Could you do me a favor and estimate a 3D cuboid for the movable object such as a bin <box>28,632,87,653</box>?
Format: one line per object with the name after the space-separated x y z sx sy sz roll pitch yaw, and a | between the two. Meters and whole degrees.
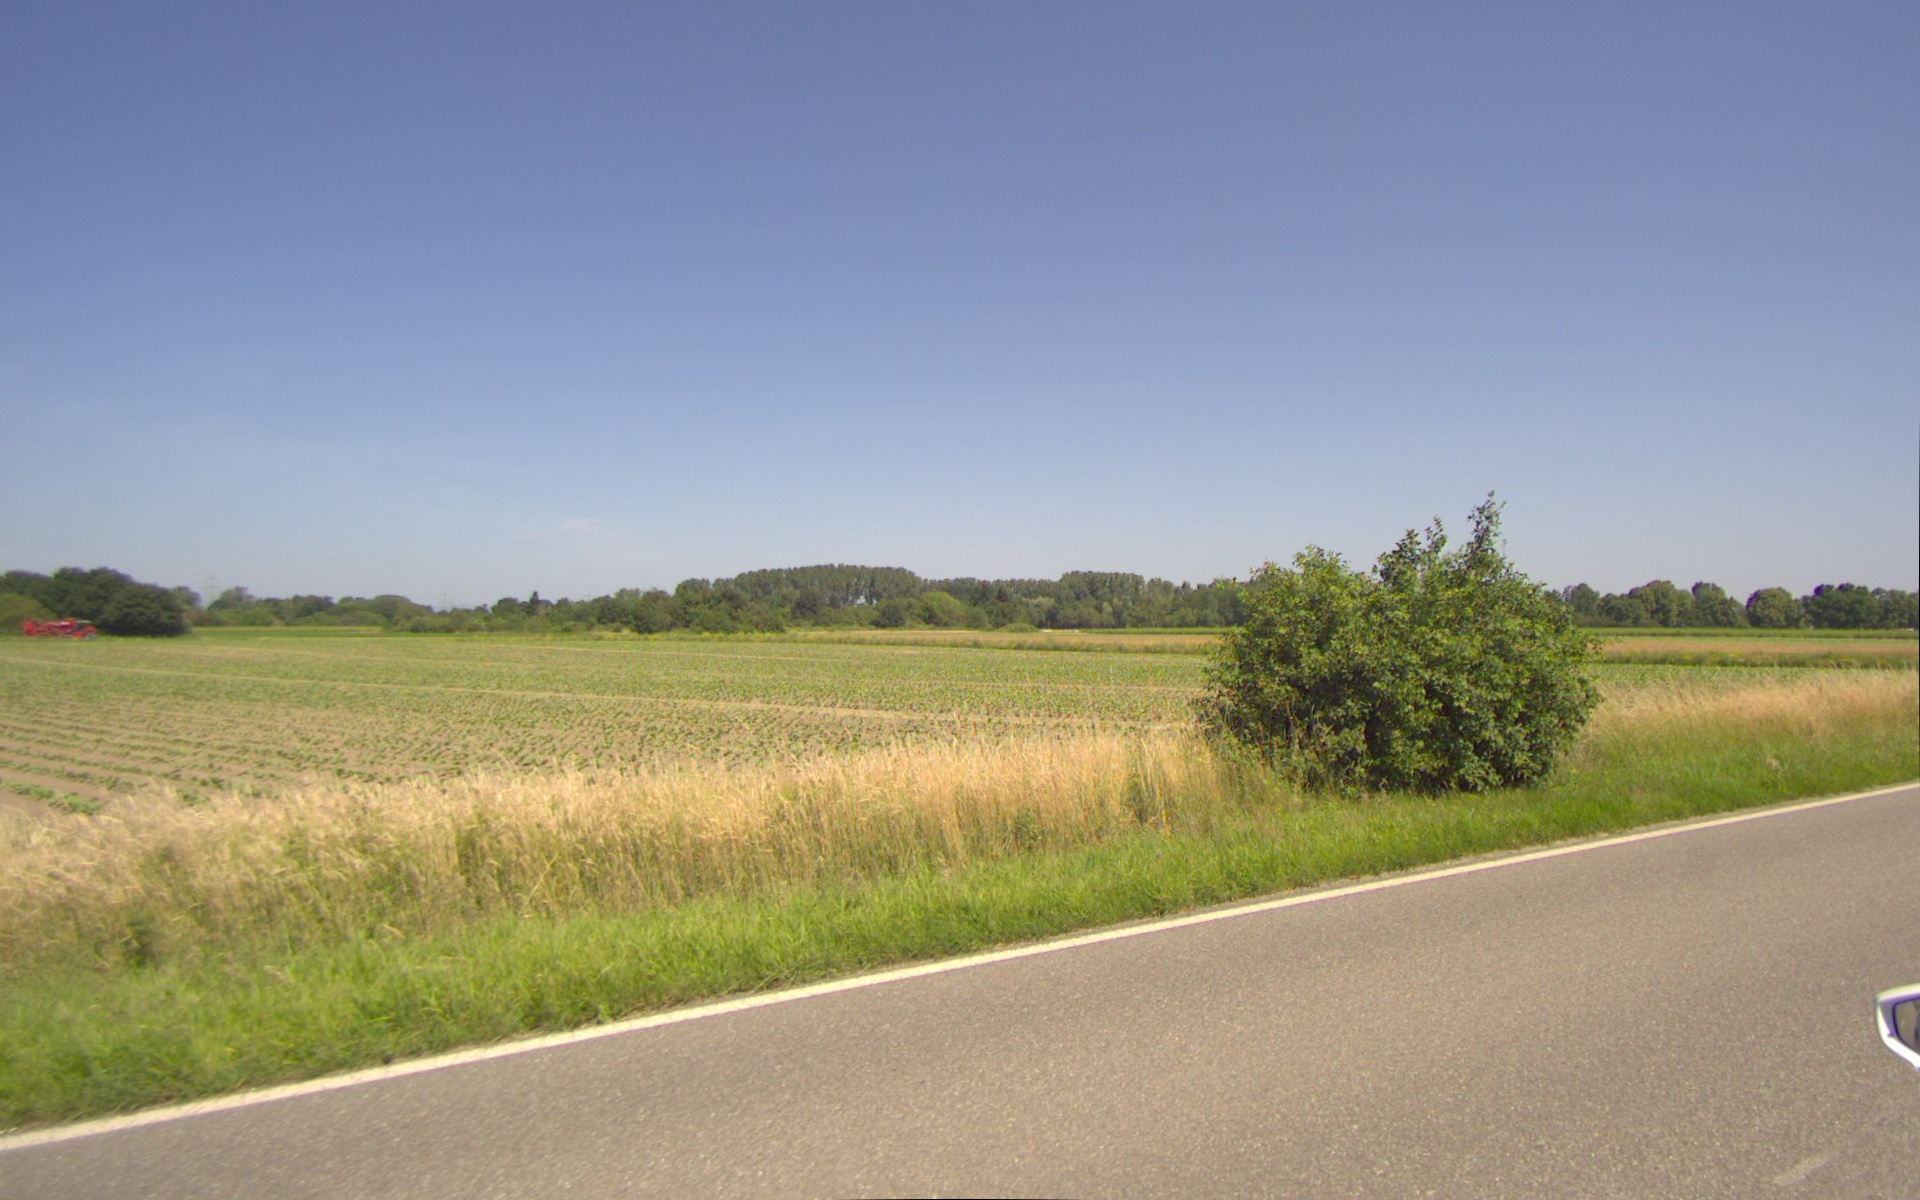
-168.091 7.896 187.110 9.777 3.899 2.549 -1 -2 10 | movable object such as a bin
